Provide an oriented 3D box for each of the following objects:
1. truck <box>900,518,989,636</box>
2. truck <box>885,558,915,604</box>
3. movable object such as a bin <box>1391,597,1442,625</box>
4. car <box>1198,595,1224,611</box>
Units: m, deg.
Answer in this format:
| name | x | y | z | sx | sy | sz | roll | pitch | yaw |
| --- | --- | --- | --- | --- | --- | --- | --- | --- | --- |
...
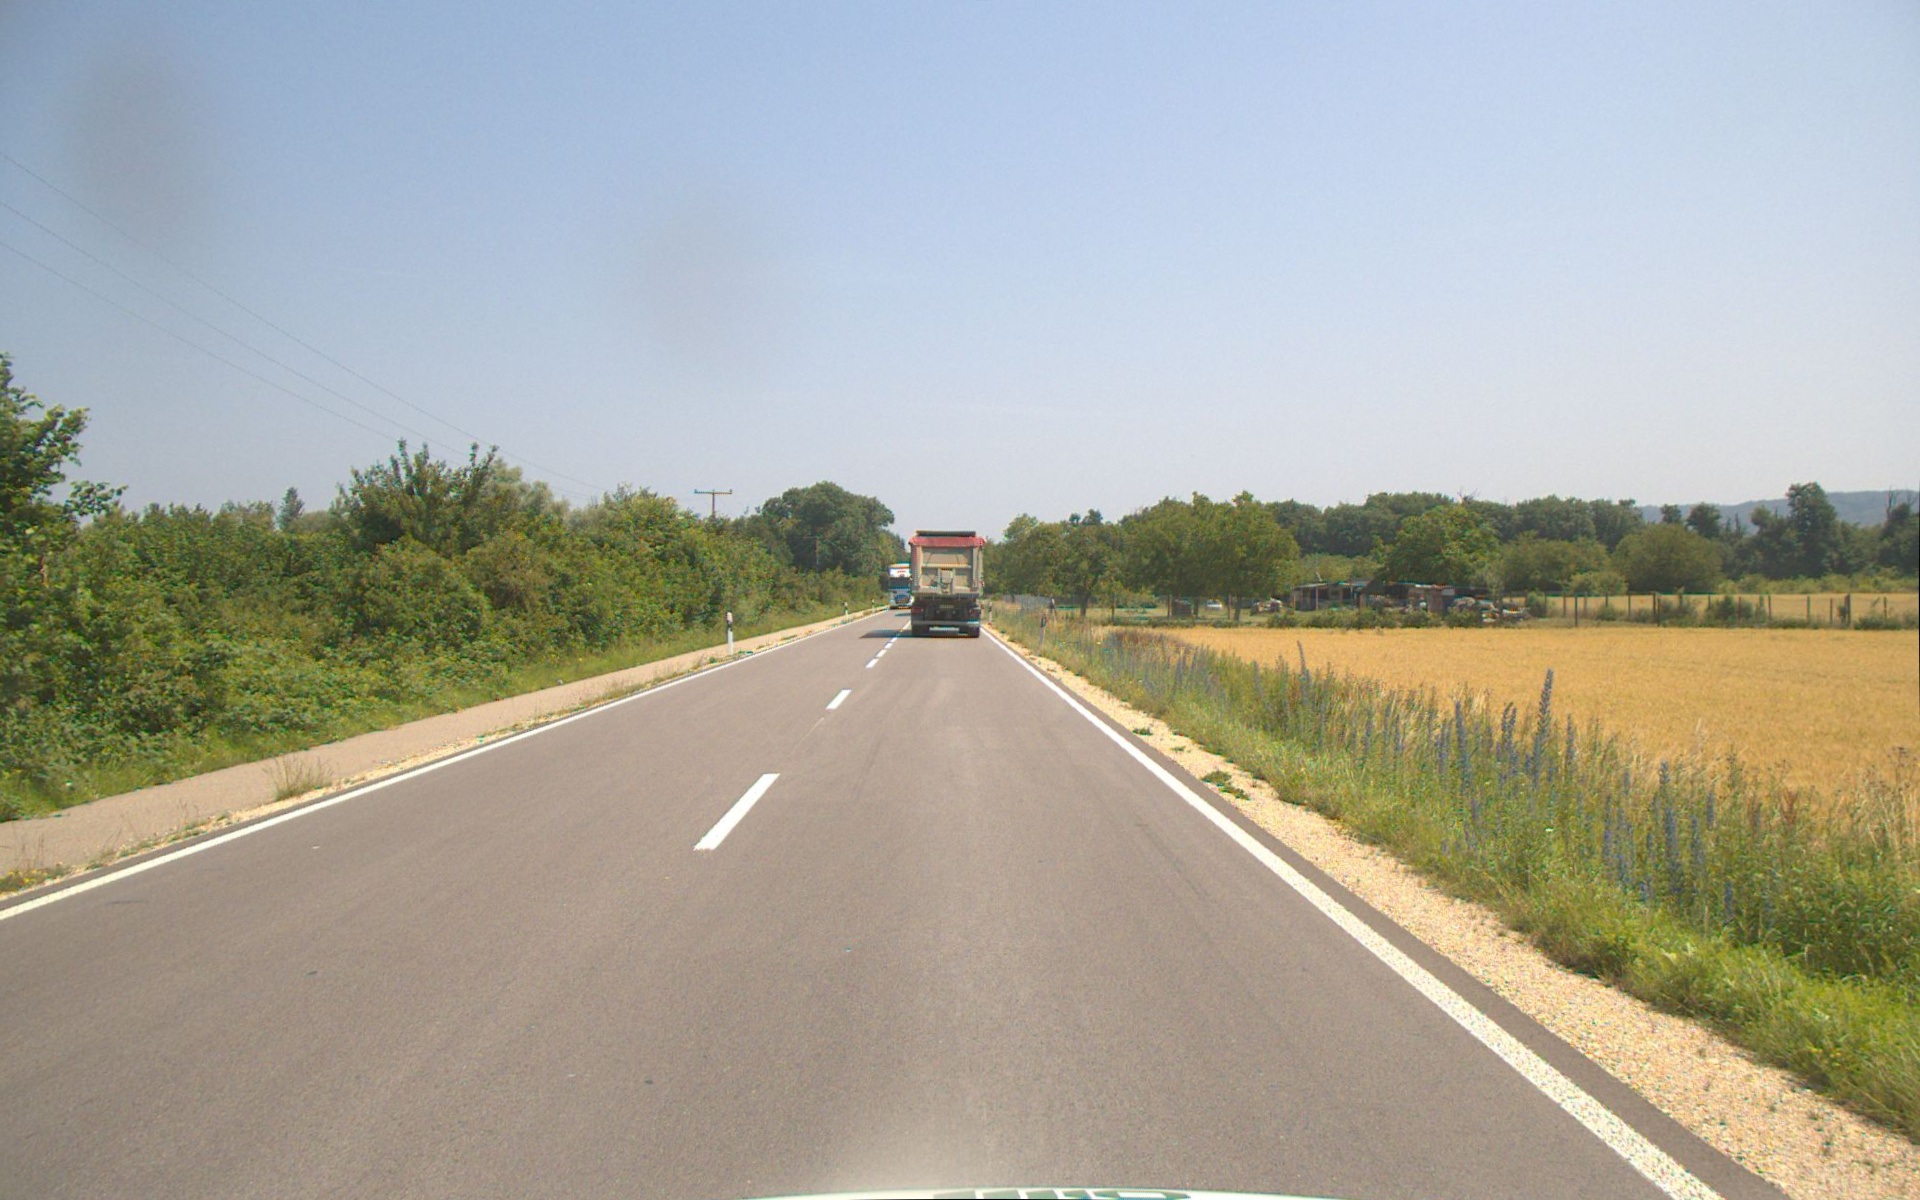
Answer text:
| name | x | y | z | sx | sy | sz | roll | pitch | yaw |
| --- | --- | --- | --- | --- | --- | --- | --- | --- | --- |
| truck | -0.621 | -0.767 | 62.321 | 2.948 | 3.942 | 12.206 | 1 | 0 | -1 |
| truck | -5.818 | -1.853 | 162.285 | 2.662 | 4.340 | 7.388 | -2 | 0 | -1 |
| movable object such as a bin | 25.276 | 0.594 | 91.604 | 1.540 | 1.522 | 3.655 | 0 | 0 | -5 |
| car | 24.751 | 0.334 | 163.217 | 1.563 | 1.512 | 3.421 | 0 | 1 | -9 |
